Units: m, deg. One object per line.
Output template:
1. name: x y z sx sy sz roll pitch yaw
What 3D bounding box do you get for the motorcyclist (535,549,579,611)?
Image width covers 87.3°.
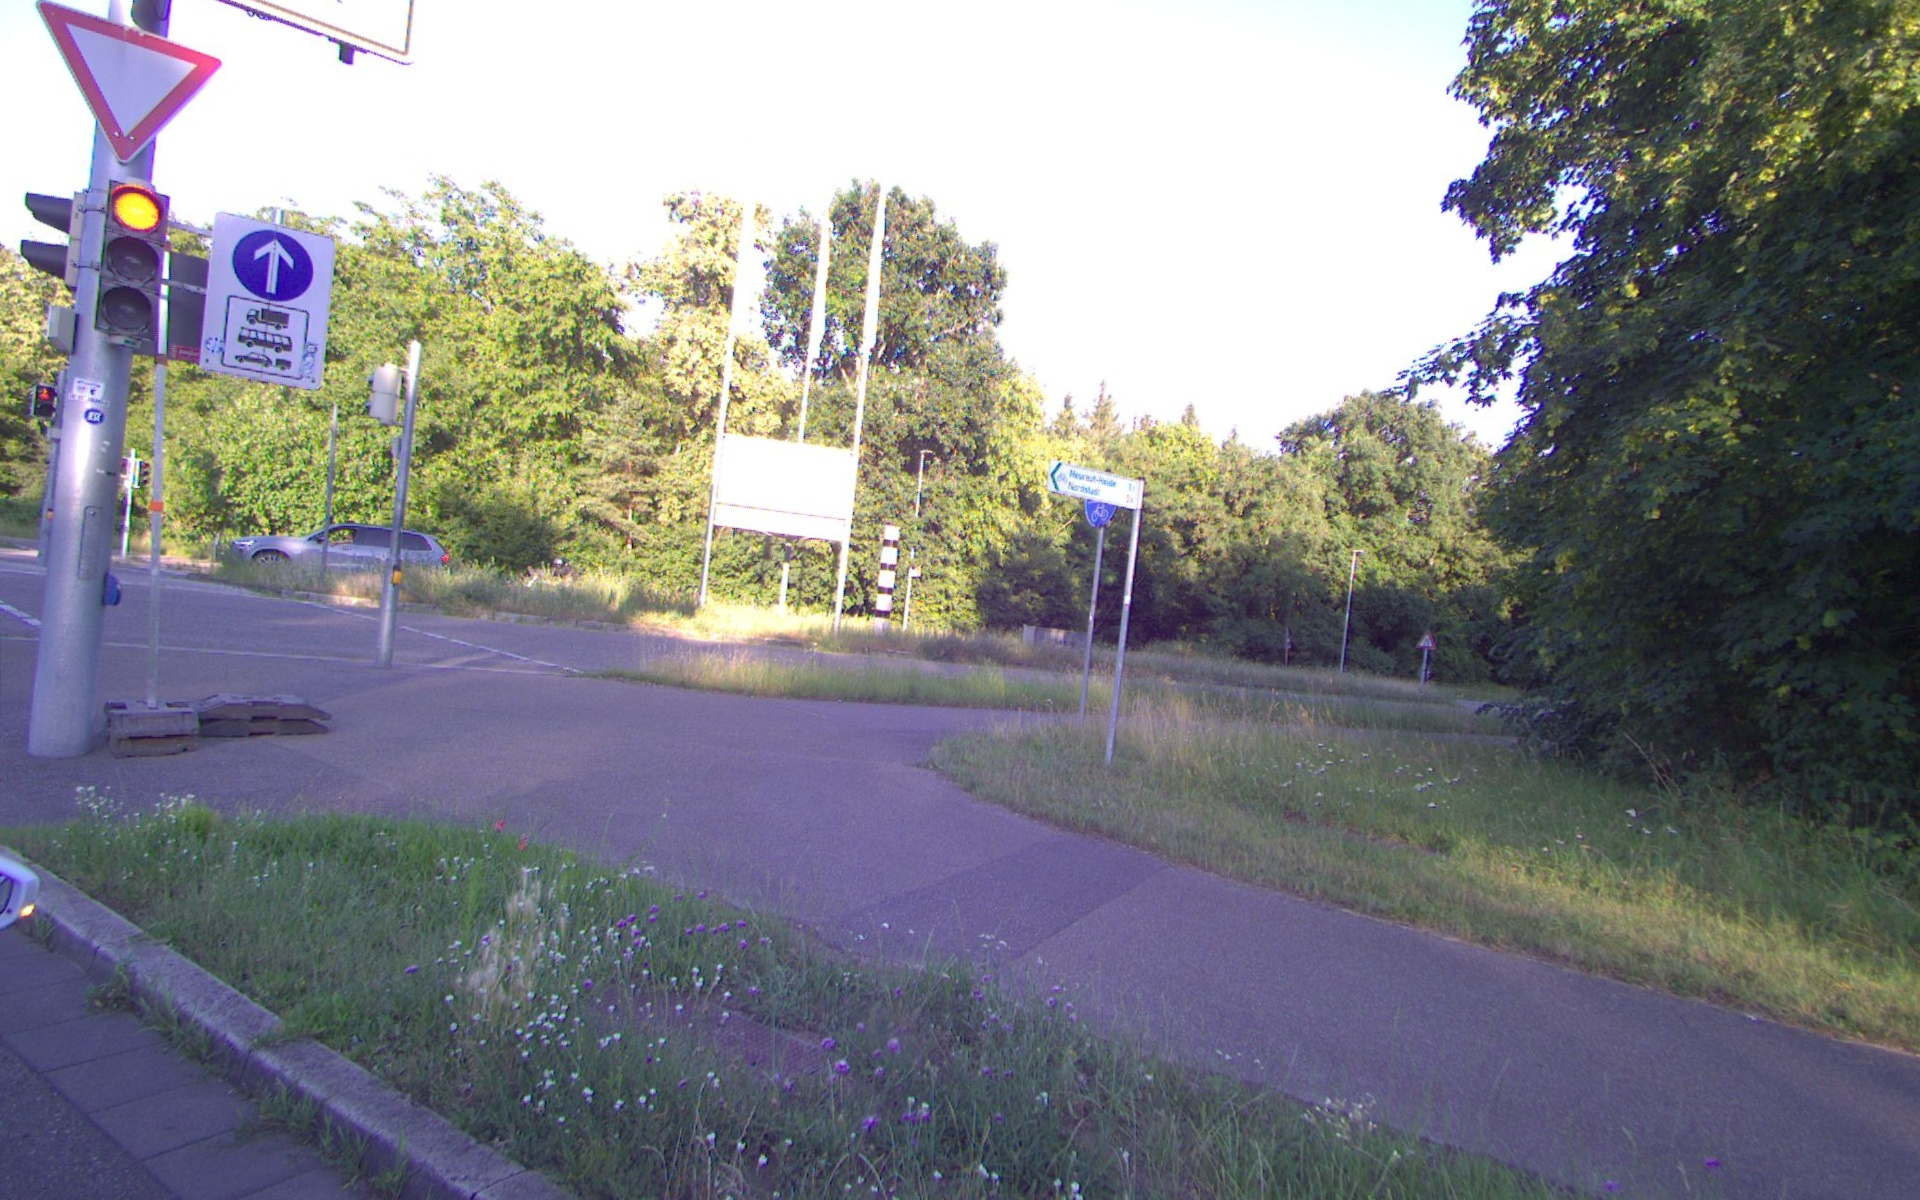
1. motorcyclist: -11.301 -0.567 28.216 0.881 1.614 0.648 6 0 -37

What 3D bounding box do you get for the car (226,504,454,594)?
1. car: -15.968 -1.269 26.035 4.790 1.618 1.980 7 0 -37

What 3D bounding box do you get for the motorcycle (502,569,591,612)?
1. motorcycle: -11.525 -0.250 28.084 2.133 0.921 0.655 7 0 -37
